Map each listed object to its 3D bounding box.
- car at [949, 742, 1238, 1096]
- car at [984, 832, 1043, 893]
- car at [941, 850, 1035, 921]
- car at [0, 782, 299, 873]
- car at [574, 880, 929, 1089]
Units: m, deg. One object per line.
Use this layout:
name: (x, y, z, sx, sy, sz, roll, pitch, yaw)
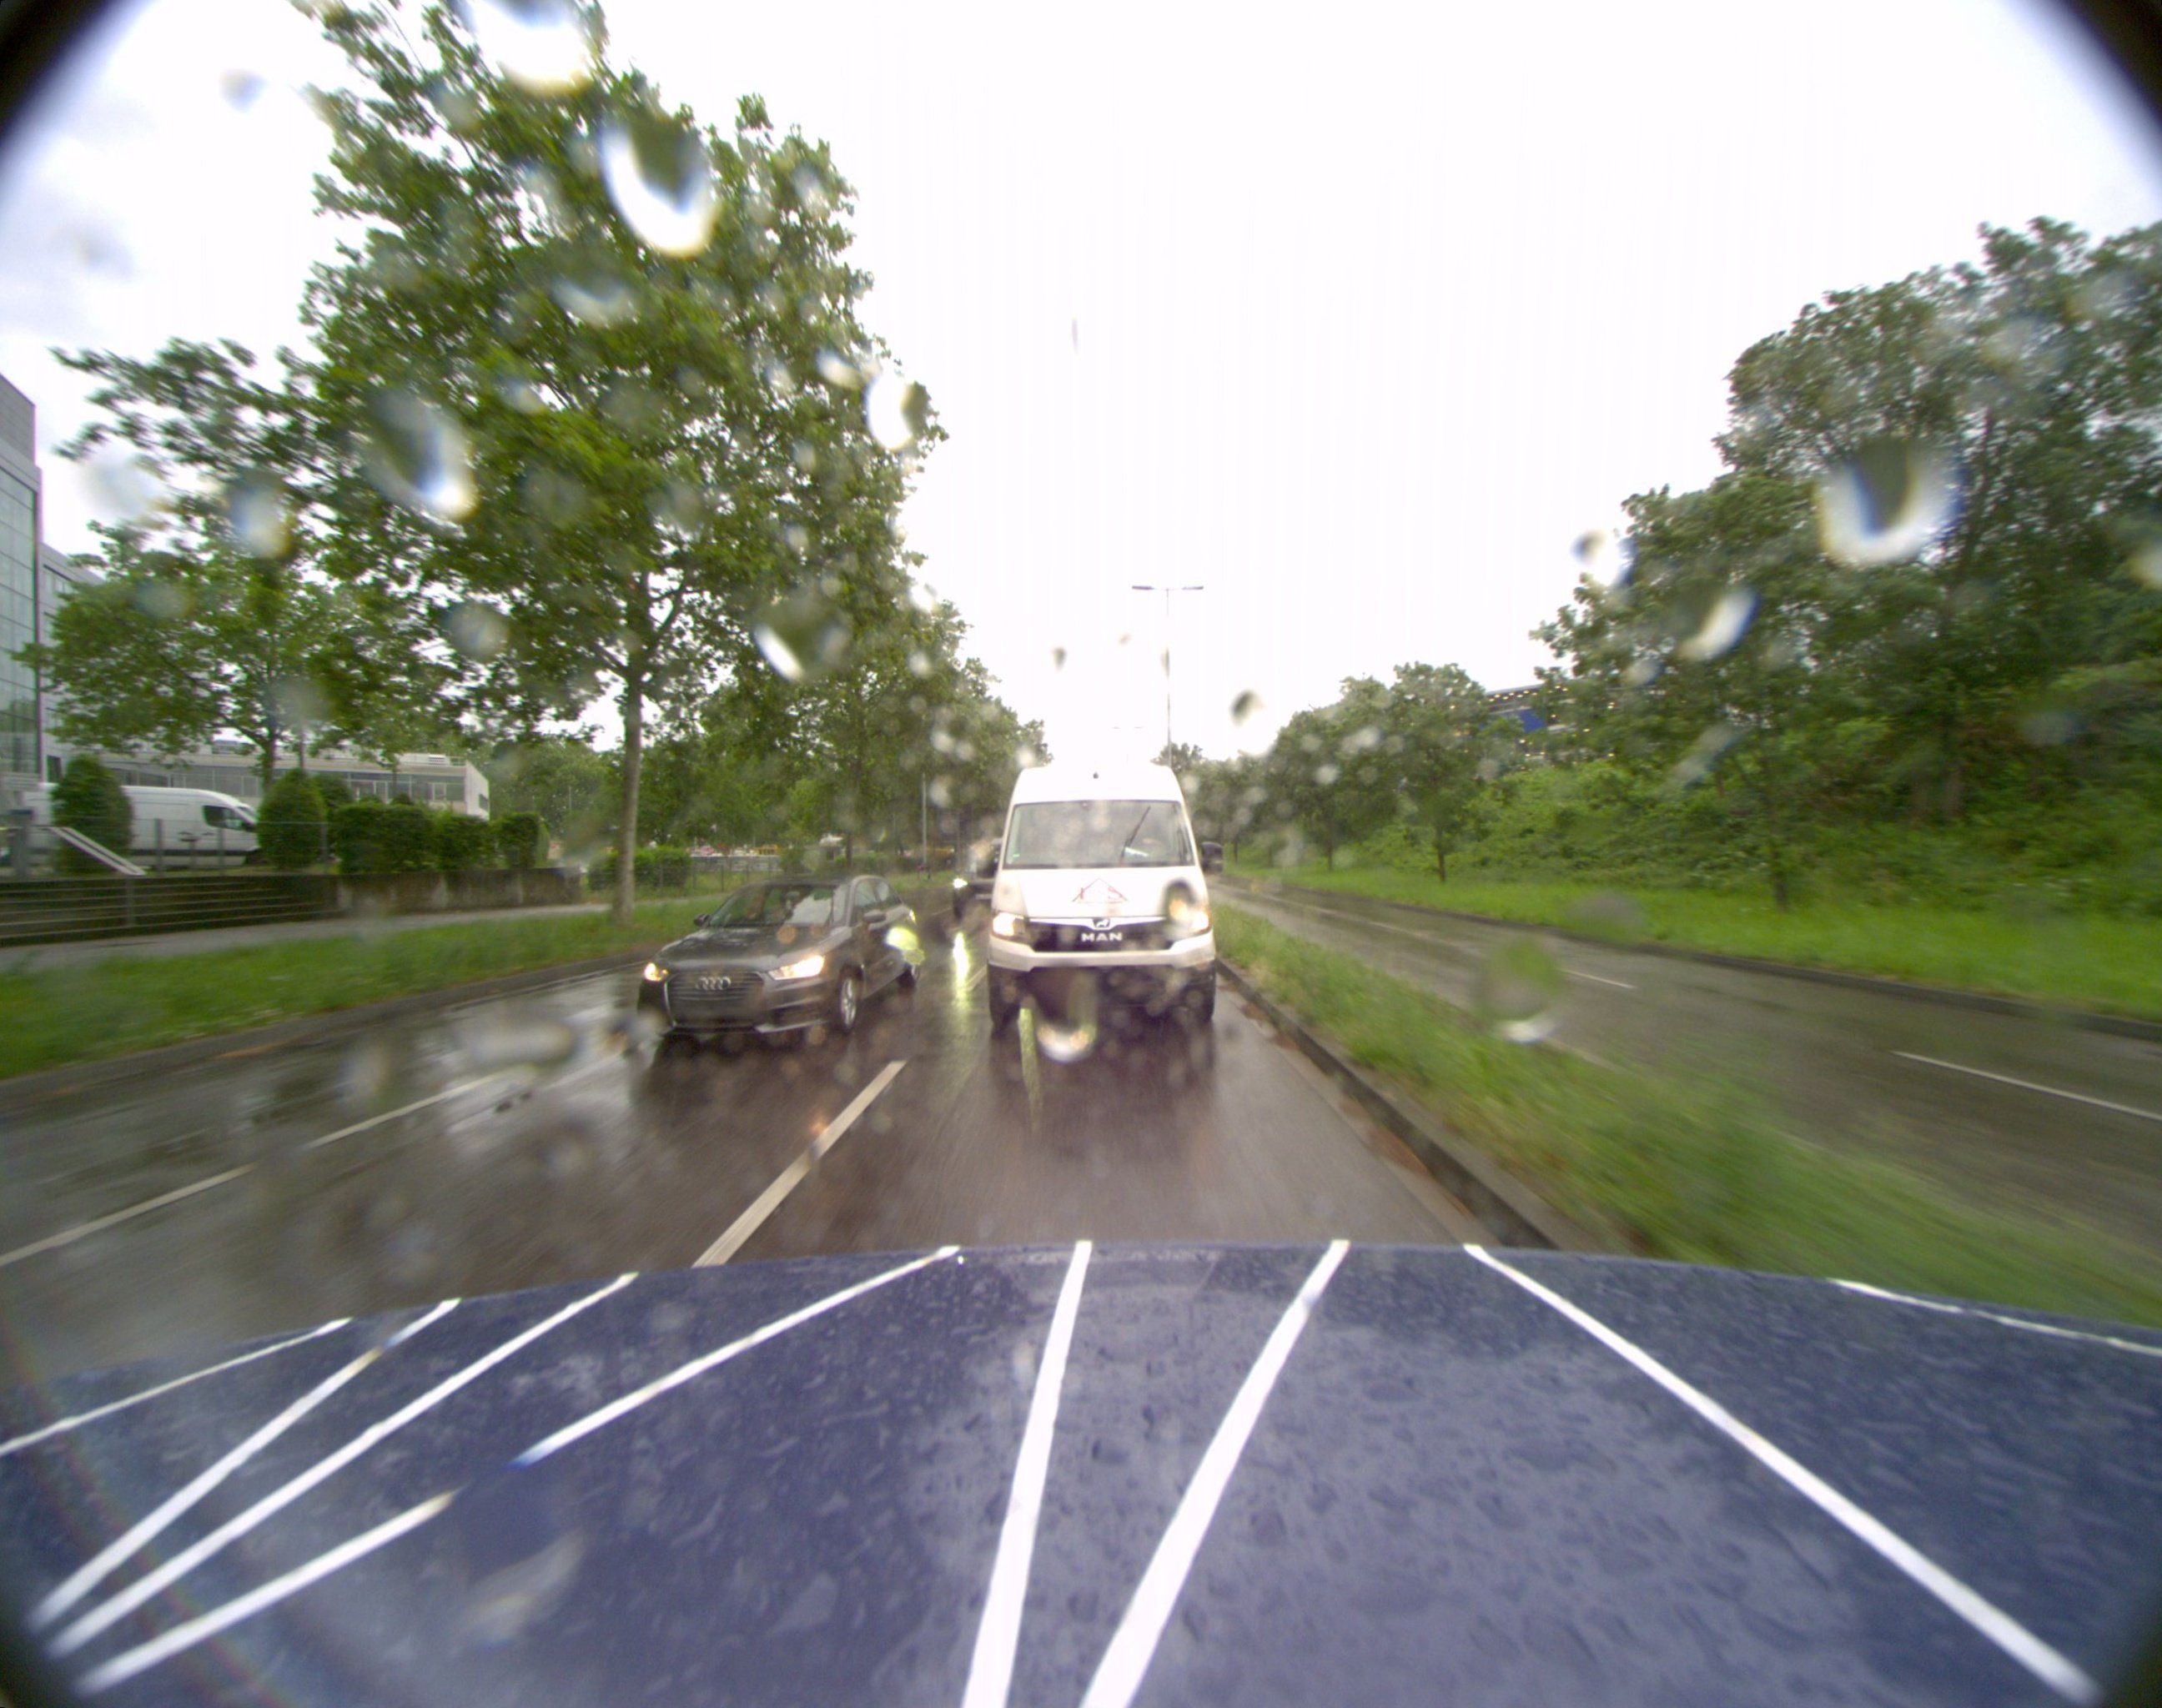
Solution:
car: (0.172, 0.423, 8.178, 1.968, 2.419, 5.961, 0, 1, 2)
car: (-2.809, 0.304, 32.699, 1.998, 2.416, 4.977, 0, 1, 1)
car: (-2.444, 0.770, 21.040, 1.998, 1.738, 4.327, 0, 1, 1)
car: (-27.570, -0.781, 22.551, 5.706, 2.442, 1.995, -2, 1, -36)
car: (-2.876, 1.055, 7.649, 1.840, 1.390, 3.753, -2, 1, 1)
